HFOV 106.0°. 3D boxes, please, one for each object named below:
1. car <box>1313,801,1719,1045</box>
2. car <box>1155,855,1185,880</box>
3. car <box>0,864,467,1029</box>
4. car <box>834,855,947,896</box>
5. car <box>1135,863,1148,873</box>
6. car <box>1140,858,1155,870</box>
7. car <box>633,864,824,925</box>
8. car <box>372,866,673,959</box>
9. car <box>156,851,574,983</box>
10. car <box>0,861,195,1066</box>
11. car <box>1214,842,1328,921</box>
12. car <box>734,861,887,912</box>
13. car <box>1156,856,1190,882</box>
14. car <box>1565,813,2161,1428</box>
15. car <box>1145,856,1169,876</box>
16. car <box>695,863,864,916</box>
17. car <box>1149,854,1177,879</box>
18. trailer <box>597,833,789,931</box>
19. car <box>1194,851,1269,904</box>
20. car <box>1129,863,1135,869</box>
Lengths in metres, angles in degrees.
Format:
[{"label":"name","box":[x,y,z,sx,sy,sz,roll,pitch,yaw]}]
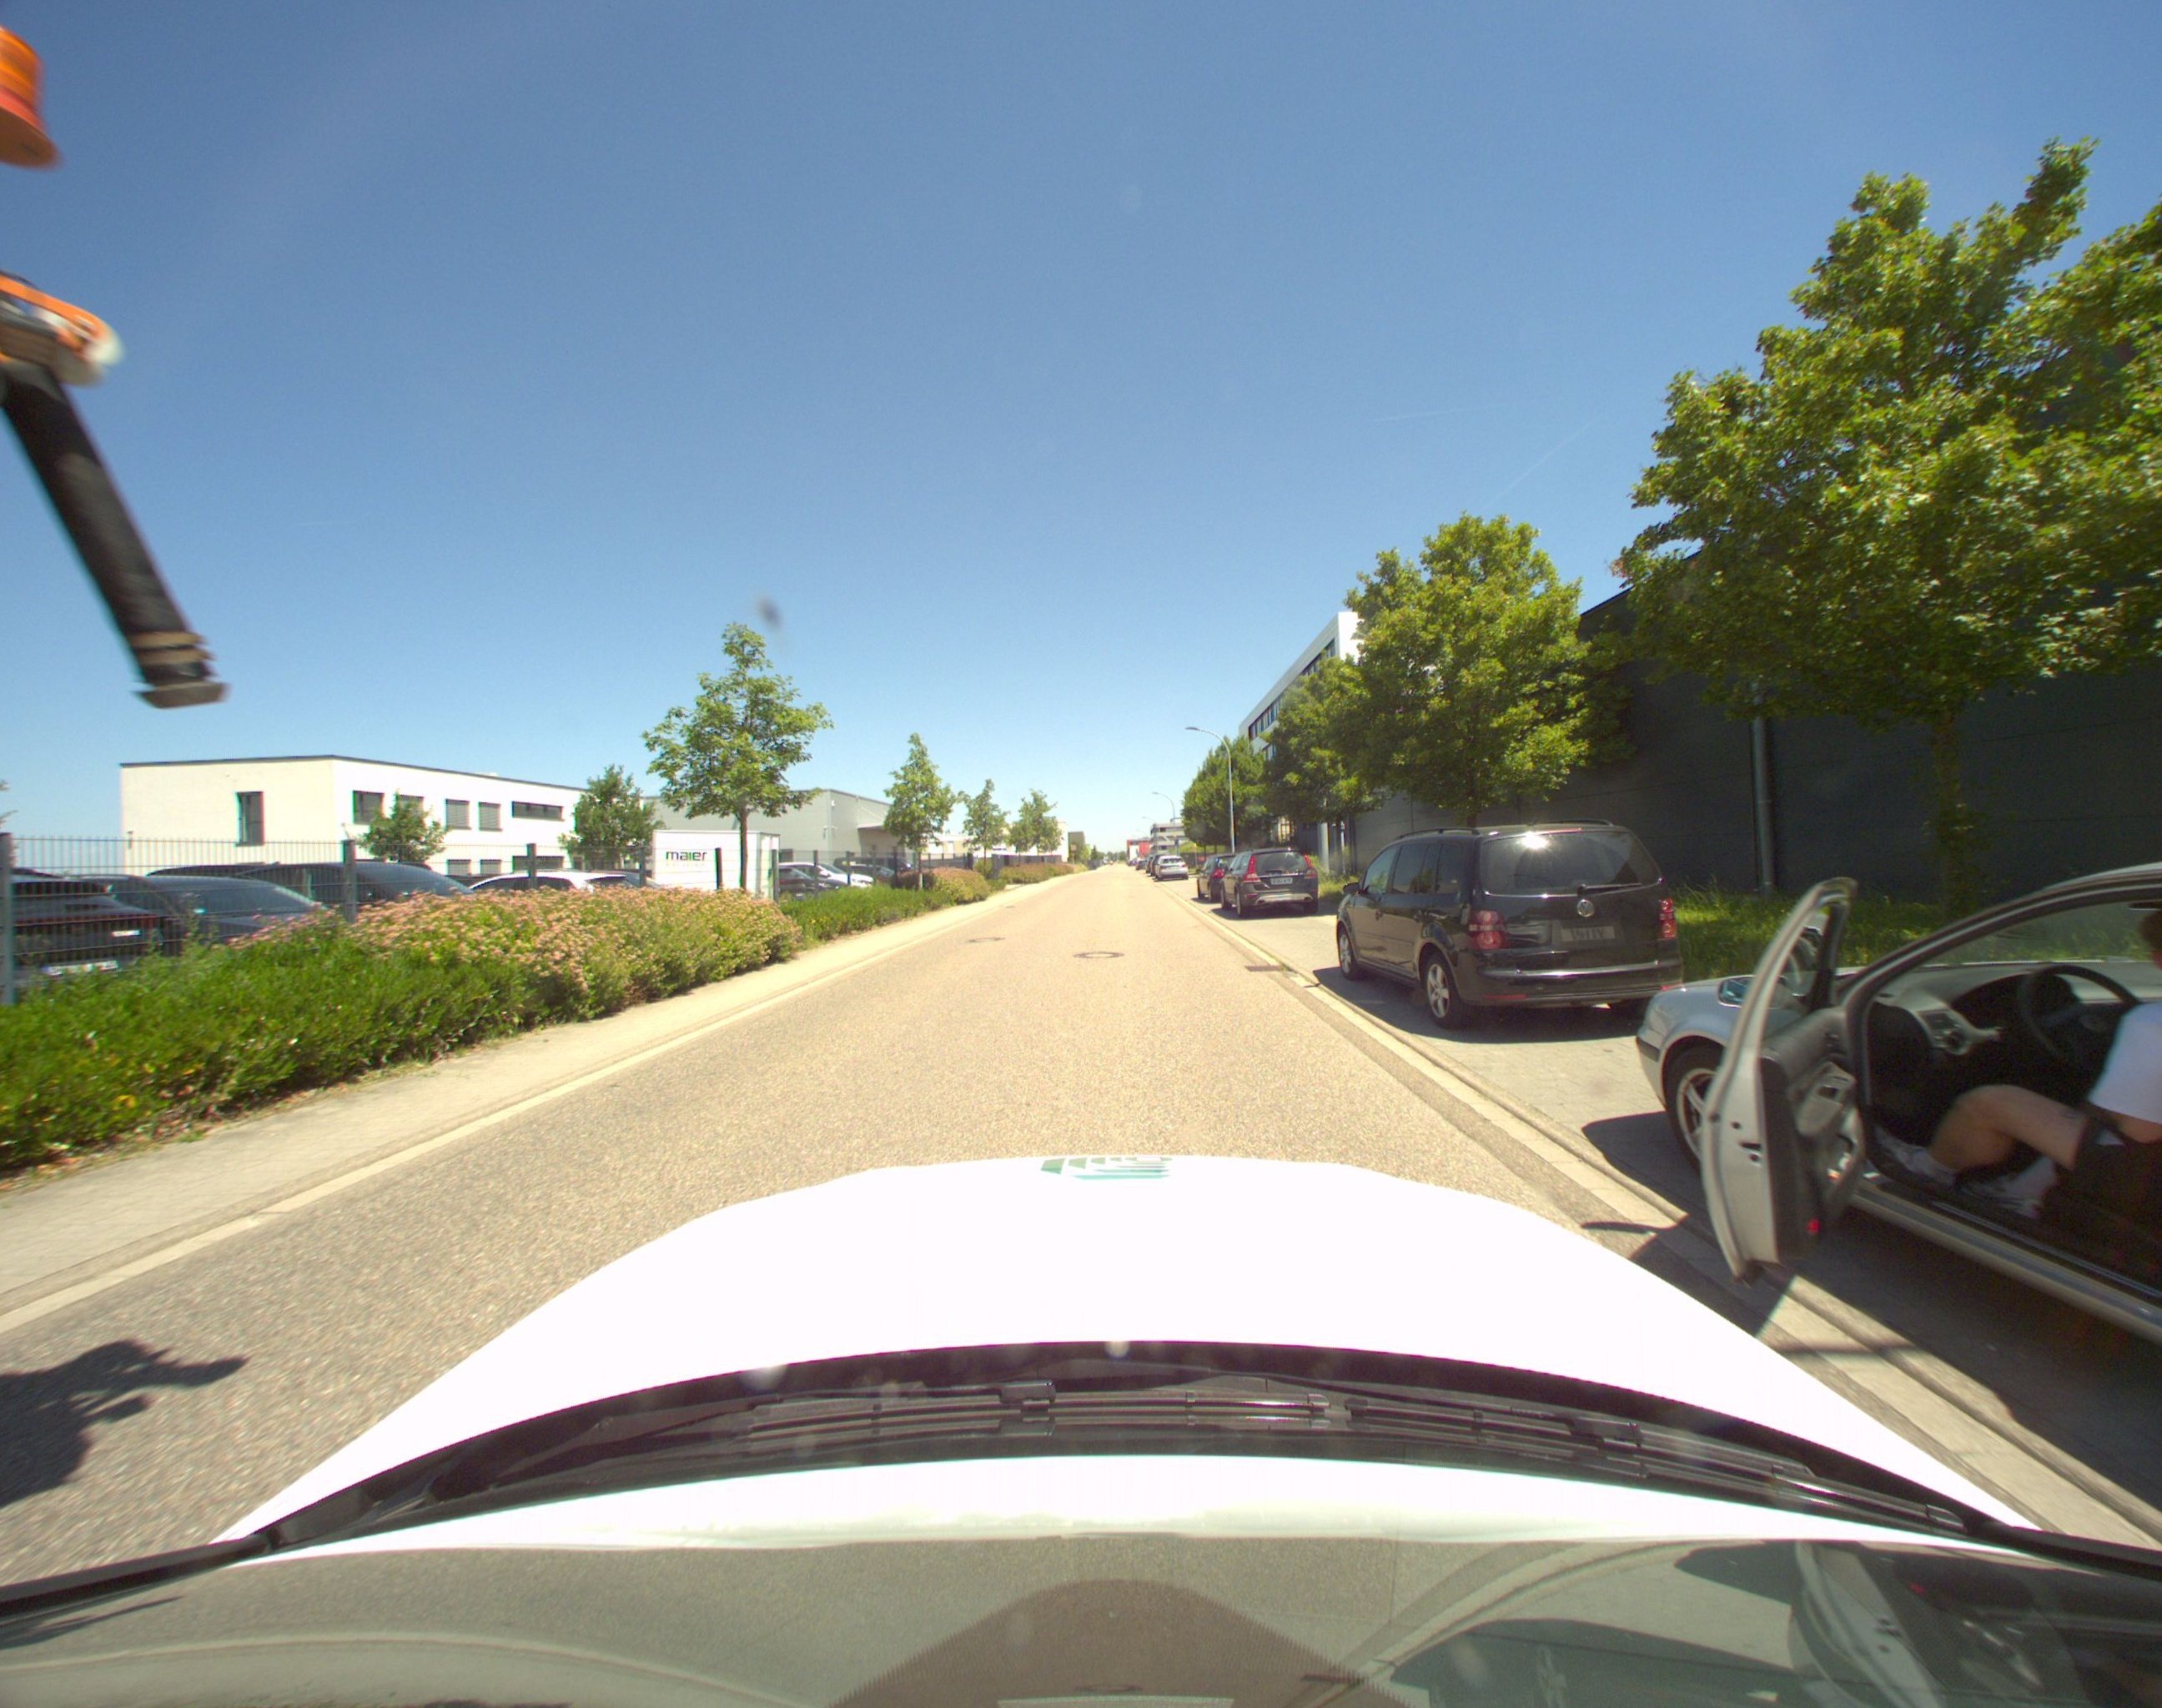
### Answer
[{"label":"car","box":[3.763,0.516,8.079,1.731,1.670,4.370,-3,-1,2]},{"label":"car","box":[5.822,0.880,53.686,1.709,1.481,4.034,-4,-1,3]},{"label":"car","box":[-10.314,1.018,9.720,4.498,1.666,1.775,-2,-1,-3]},{"label":"car","box":[-9.349,1.041,40.182,5.040,1.851,1.965,-1,-1,2]},{"label":"car","box":[9.614,2.231,129.296,1.898,1.546,4.006,-4,-1,5]},{"label":"car","box":[9.298,1.363,113.416,1.898,1.448,4.006,-4,-1,5]},{"label":"car","box":[-9.977,1.121,23.265,4.528,1.535,2.002,-2,-1,3]},{"label":"car","box":[-10.020,1.020,14.862,4.193,1.452,1.776,-2,-1,-1]},{"label":"car","box":[-10.420,0.864,12.152,4.499,1.666,1.775,-2,-1,-3]},{"label":"car","box":[-11.054,0.963,7.200,4.493,1.666,1.778,-2,-1,1]},{"label":"car","box":[4.551,0.611,20.207,1.800,1.617,4.716,-4,-1,2]},{"label":"car","box":[-9.624,1.149,29.207,4.713,1.629,2.002,-2,-1,3]},{"label":"car","box":[5.529,0.880,49.107,1.709,1.423,3.954,-4,-1,3]},{"label":"car","box":[3.425,0.609,2.274,1.700,1.457,4.191,-3,-1,2]},{"label":"car","box":[6.832,1.087,73.885,1.797,1.662,4.610,-4,-1,2]},{"label":"car","box":[-9.794,1.124,26.690,4.713,1.535,2.002,-2,-1,3]},{"label":"car","box":[6.123,0.909,61.187,1.750,1.663,4.366,-4,-1,3]},{"label":"trailer","box":[-9.651,0.683,20.487,3.975,2.360,1.726,0,-1,-1]},{"label":"car","box":[4.731,0.713,26.182,1.685,1.476,4.270,-4,-1,2]},{"label":"car","box":[14.074,3.355,224.261,1.768,1.728,4.003,0,-1,3]}]
